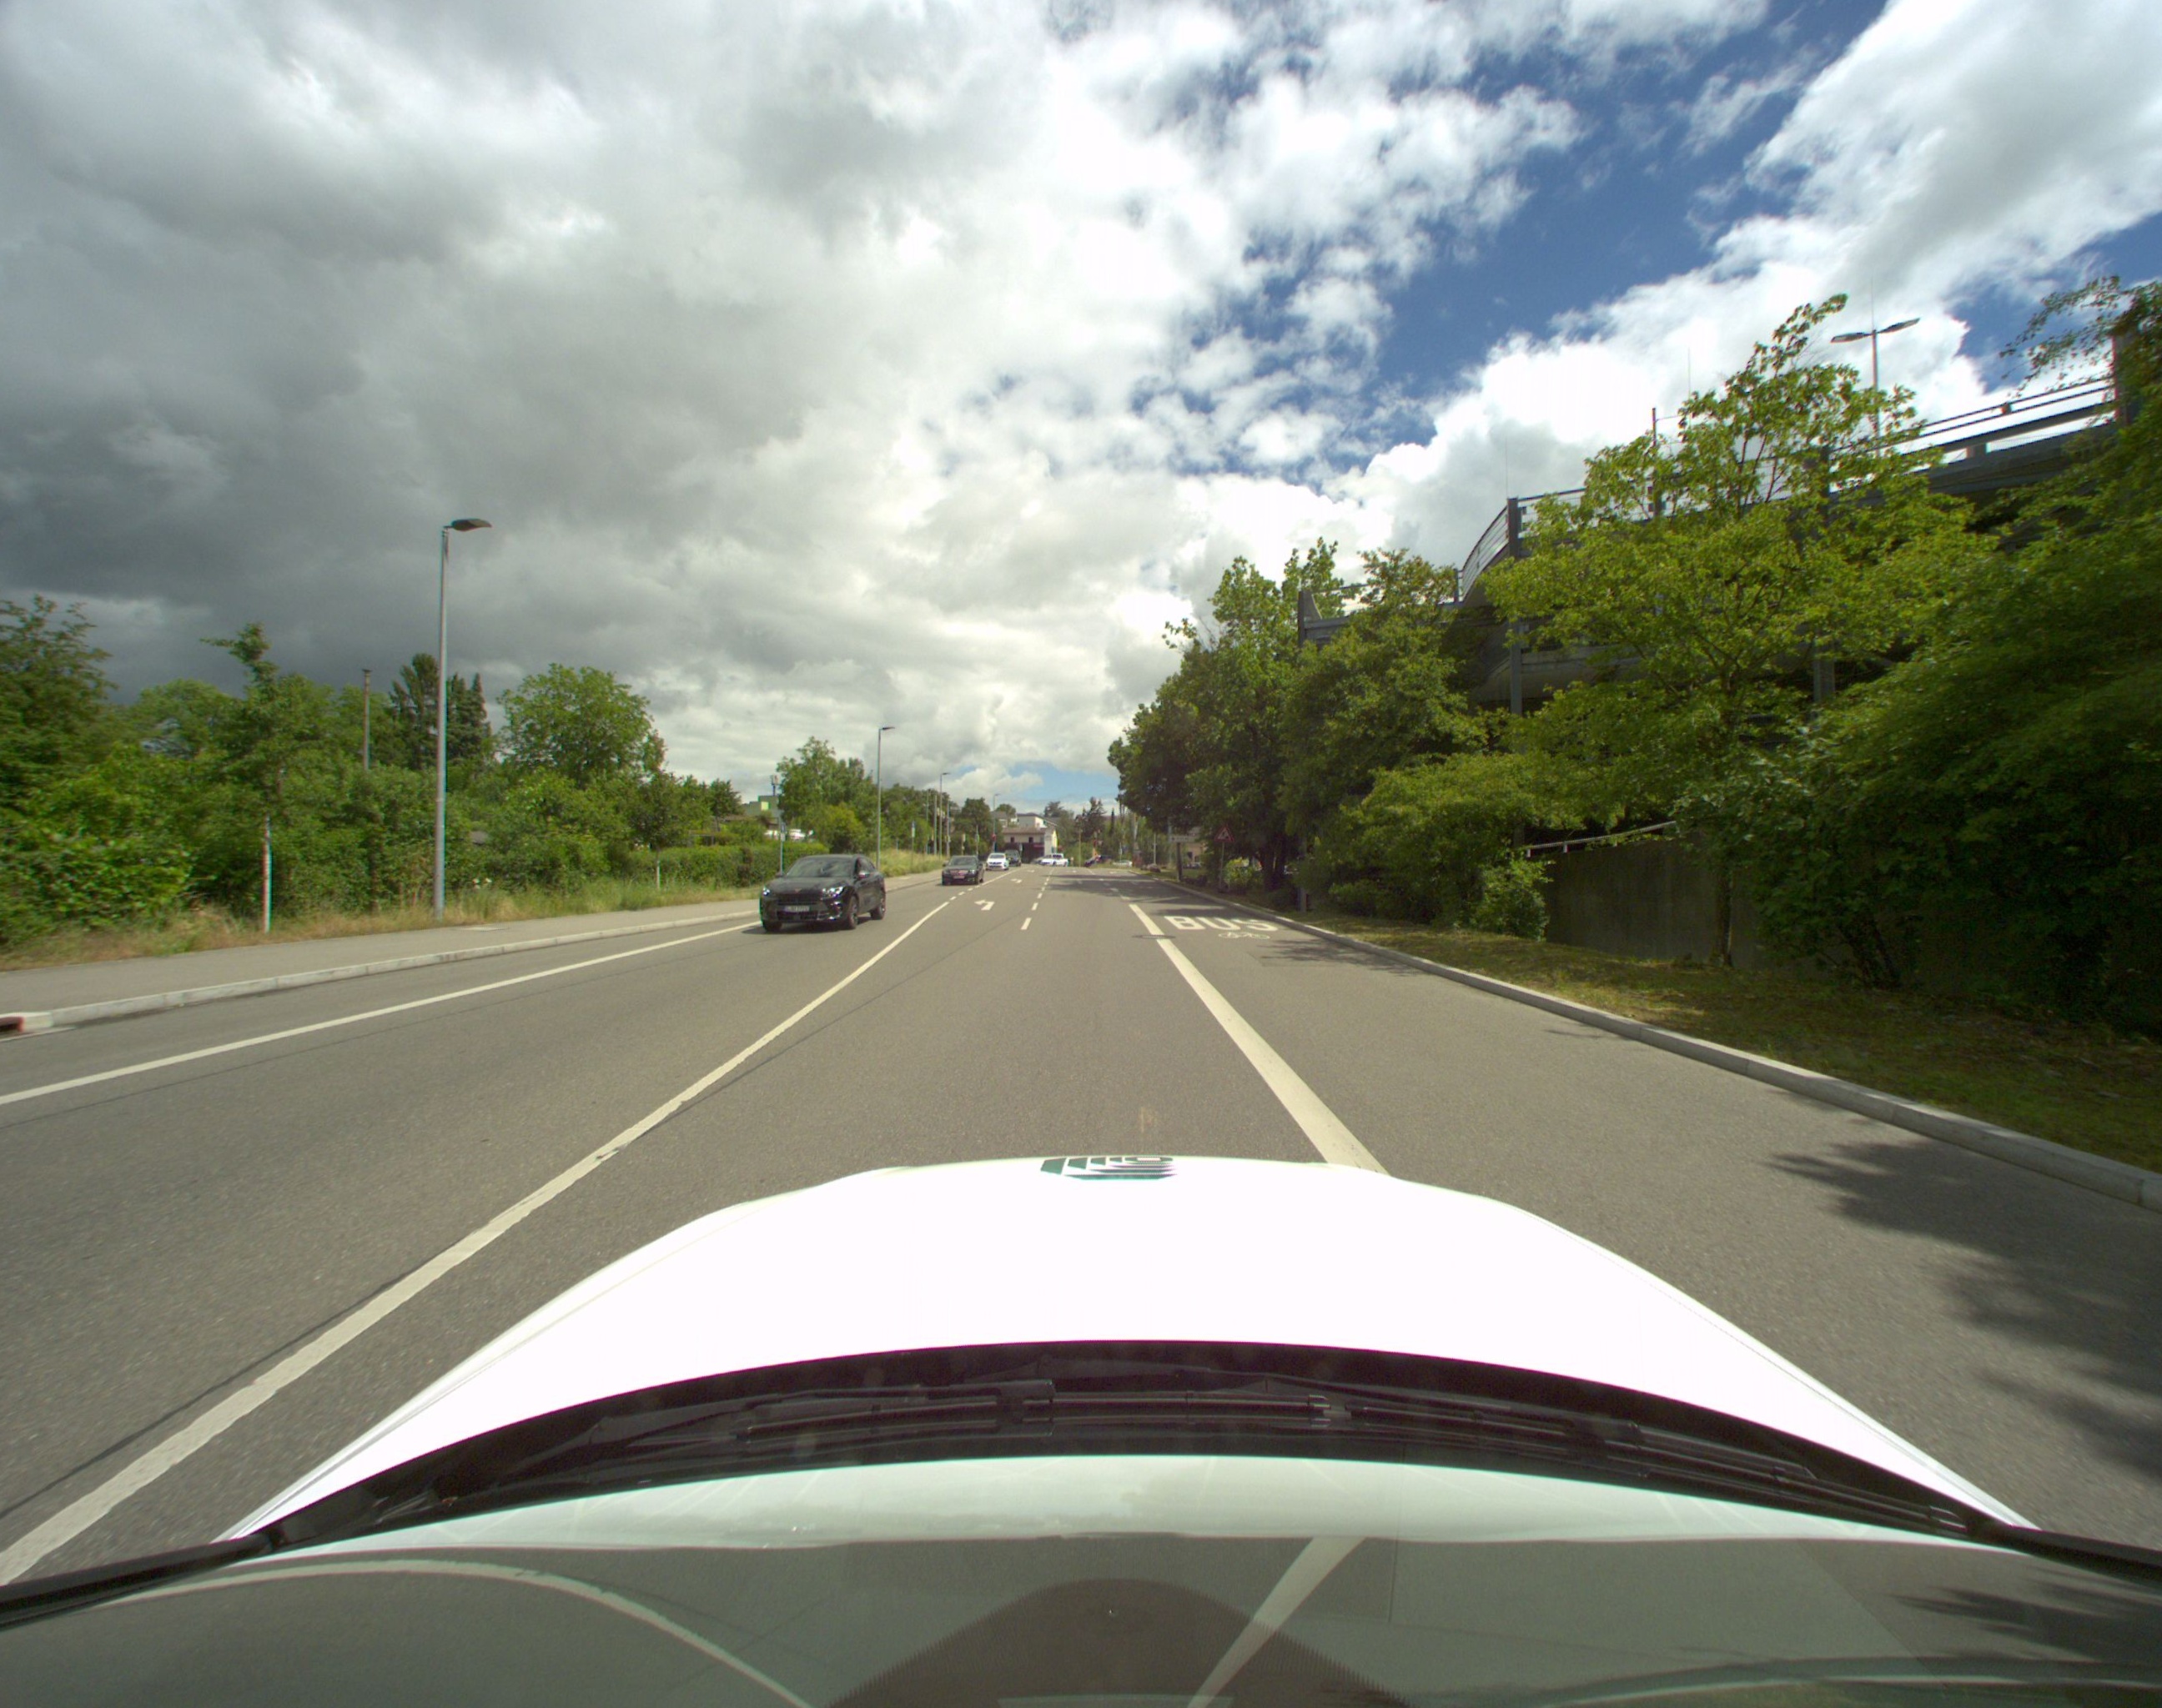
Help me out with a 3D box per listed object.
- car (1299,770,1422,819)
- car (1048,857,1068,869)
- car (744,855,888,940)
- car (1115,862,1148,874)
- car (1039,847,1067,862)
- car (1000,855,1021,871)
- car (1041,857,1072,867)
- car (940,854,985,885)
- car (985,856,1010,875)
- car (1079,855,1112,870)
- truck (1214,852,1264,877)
[{"bbox_3d":[9.138,-1.897,26.644,3.658,1.411,1.669,0,1,24],"label":"car"},{"bbox_3d":[-3.961,1.583,139.718,1.912,1.860,3.771,-1,-2,-32],"label":"car"},{"bbox_3d":[-5.647,0.832,17.990,1.818,1.557,4.624,-2,0,-3],"label":"car"},{"bbox_3d":[7.719,2.176,125.348,4.752,1.779,1.800,0,-3,25],"label":"car"},{"bbox_3d":[-4.131,0.099,119.639,3.972,2.014,2.000,-2,-2,1],"label":"car"},{"bbox_3d":[-7.395,0.923,85.394,1.815,1.654,4.531,-1,0,-1],"label":"car"},{"bbox_3d":[-3.235,1.045,106.599,1.886,1.291,4.638,-1,-1,30],"label":"car"},{"bbox_3d":[-5.930,0.743,41.088,1.761,1.442,4.373,-1,-1,-2],"label":"car"},{"bbox_3d":[-6.907,0.943,67.834,1.761,1.442,3.896,-1,-1,-2],"label":"car"},{"bbox_3d":[2.086,1.197,112.821,1.768,1.779,4.839,-1,-4,43],"label":"car"},{"bbox_3d":[23.558,1.553,121.443,6.916,3.579,2.848,-2,-2,2],"label":"truck"}]
